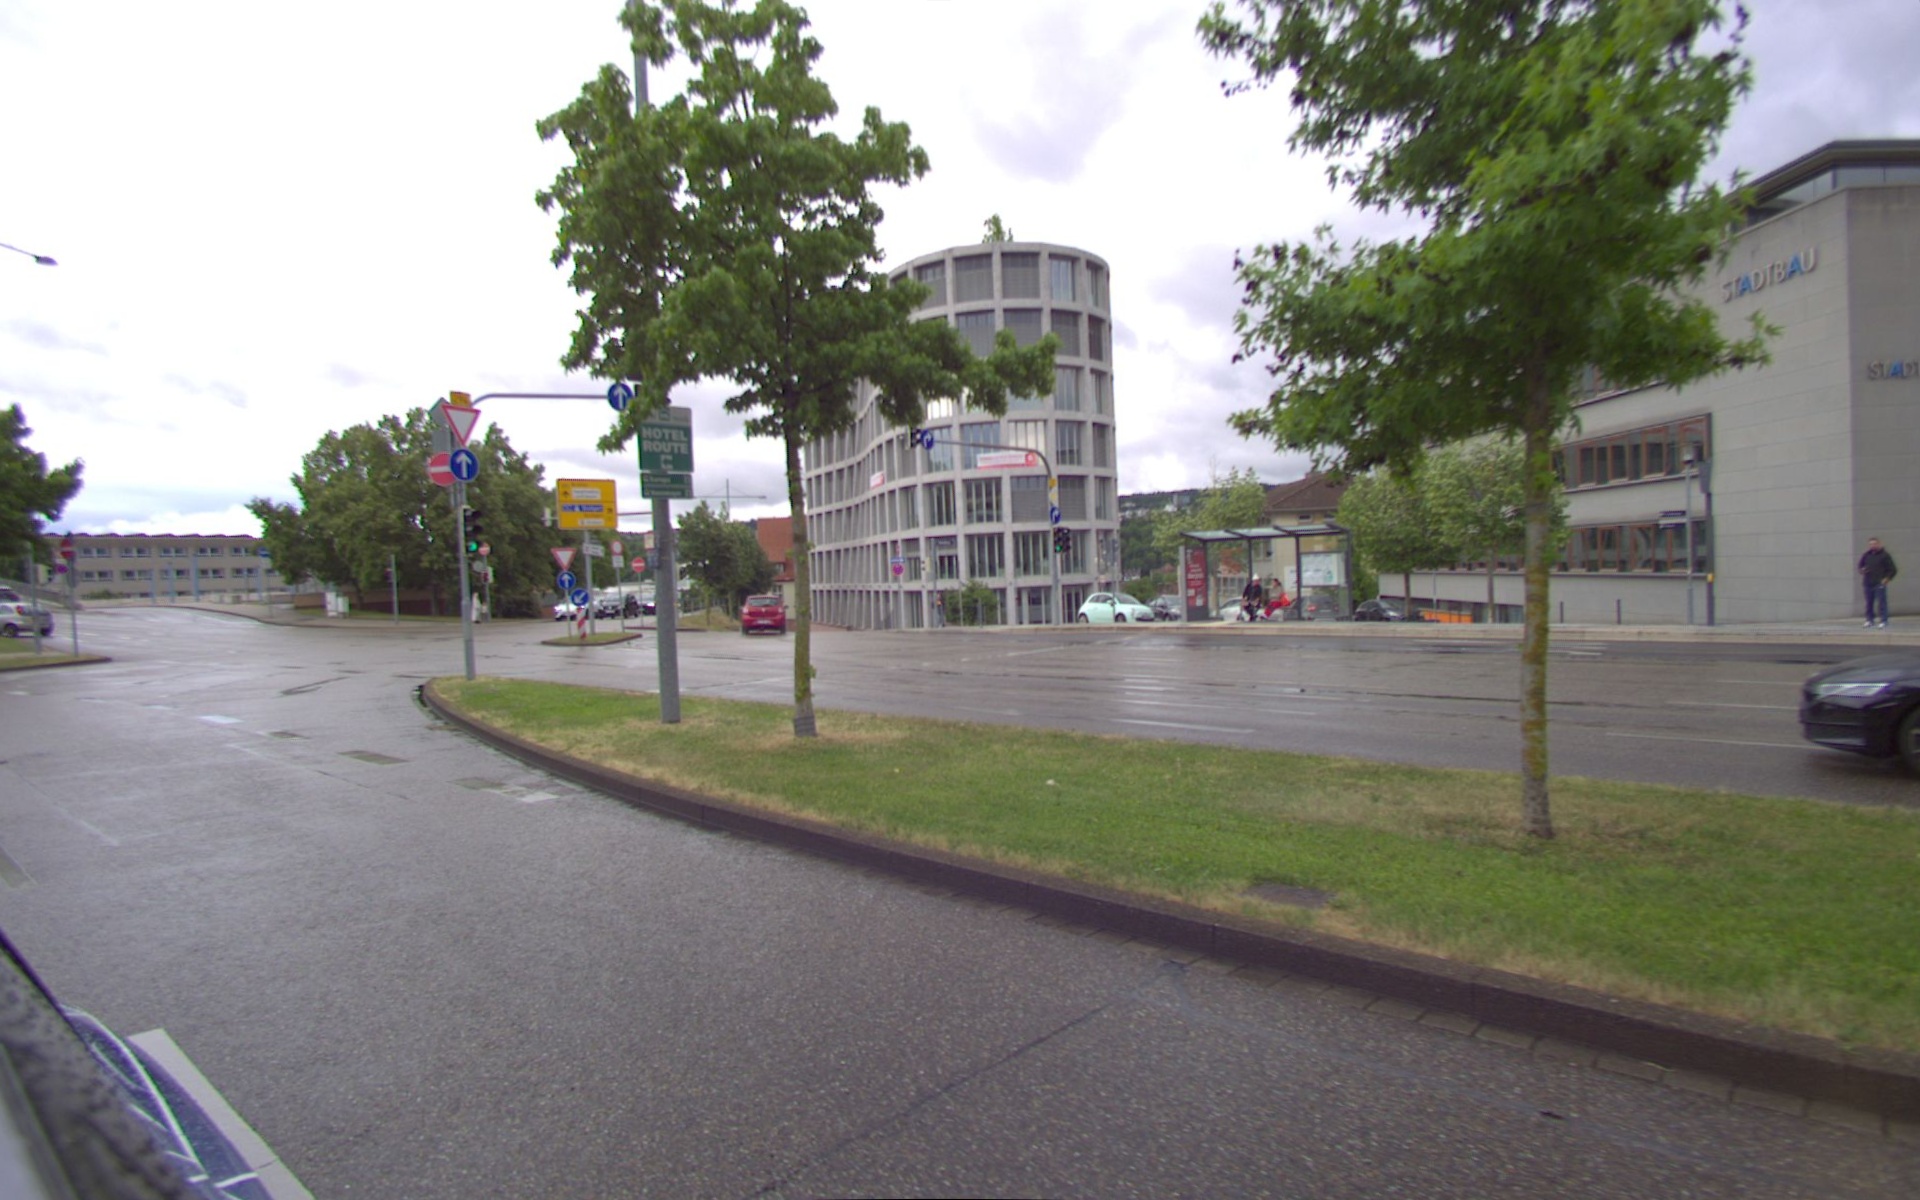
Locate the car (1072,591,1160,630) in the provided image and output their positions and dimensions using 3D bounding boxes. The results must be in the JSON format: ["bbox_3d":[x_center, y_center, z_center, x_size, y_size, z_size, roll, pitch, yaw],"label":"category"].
[{"bbox_3d":[6.458,0.417,42.300,1.606,1.507,3.592,-2,1,-34],"label":"car"}]

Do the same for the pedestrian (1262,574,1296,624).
[{"bbox_3d":[9.250,-0.028,29.361,0.720,1.402,0.672,-1,1,39],"label":"pedestrian"}]

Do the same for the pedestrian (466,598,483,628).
[{"bbox_3d":[-26.107,0.680,54.406,0.643,1.582,0.632,0,1,-43],"label":"pedestrian"}]

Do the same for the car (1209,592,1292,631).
[{"bbox_3d":[11.995,0.432,42.068,1.737,1.507,3.797,-1,0,-11],"label":"car"}]

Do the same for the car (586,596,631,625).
[{"bbox_3d":[-20.455,0.568,58.988,1.701,1.579,3.844,-2,1,-7],"label":"car"}]

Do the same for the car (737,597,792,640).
[{"bbox_3d":[-7.701,0.701,40.161,1.800,1.563,4.038,-1,0,-6],"label":"car"}]

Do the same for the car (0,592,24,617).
[{"bbox_3d":[-61.237,0.298,64.495,4.918,1.515,1.828,-1,1,42],"label":"car"}]

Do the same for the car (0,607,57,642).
[{"bbox_3d":[-41.330,1.039,43.519,3.830,1.459,1.634,0,0,7],"label":"car"}]

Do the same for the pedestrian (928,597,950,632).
[{"bbox_3d":[-0.969,0.664,46.441,0.704,1.595,0.665,0,2,39],"label":"pedestrian"}]

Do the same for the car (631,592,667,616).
[{"bbox_3d":[-21.597,0.240,70.392,1.701,1.579,3.844,-2,1,-7],"label":"car"}]

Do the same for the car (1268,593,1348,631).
[{"bbox_3d":[14.639,0.468,42.781,1.606,1.507,3.590,-1,0,-11],"label":"car"}]

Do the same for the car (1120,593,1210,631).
[{"bbox_3d":[8.518,0.493,42.323,1.606,1.507,3.592,-2,1,-34],"label":"car"}]

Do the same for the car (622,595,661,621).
[{"bbox_3d":[-20.694,0.496,65.858,1.701,1.579,3.844,-2,1,-7],"label":"car"}]

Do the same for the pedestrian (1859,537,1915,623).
[{"bbox_3d":[18.690,-0.399,20.405,0.468,1.696,0.764,-1,0,-43],"label":"pedestrian"}]

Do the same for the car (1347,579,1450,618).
[{"bbox_3d":[17.995,-0.052,41.663,1.605,1.507,3.593,-2,0,-31],"label":"car"}]

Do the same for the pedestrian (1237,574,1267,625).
[{"bbox_3d":[8.644,-0.024,29.997,0.625,1.480,0.672,-1,1,39],"label":"pedestrian"}]

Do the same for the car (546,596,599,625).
[{"bbox_3d":[-23.095,0.591,60.433,1.859,1.579,4.146,-1,1,-5],"label":"car"}]

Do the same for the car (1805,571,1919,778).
[{"bbox_3d":[8.970,0.512,7.061,4.634,1.539,1.664,-1,0,39],"label":"car"}]
